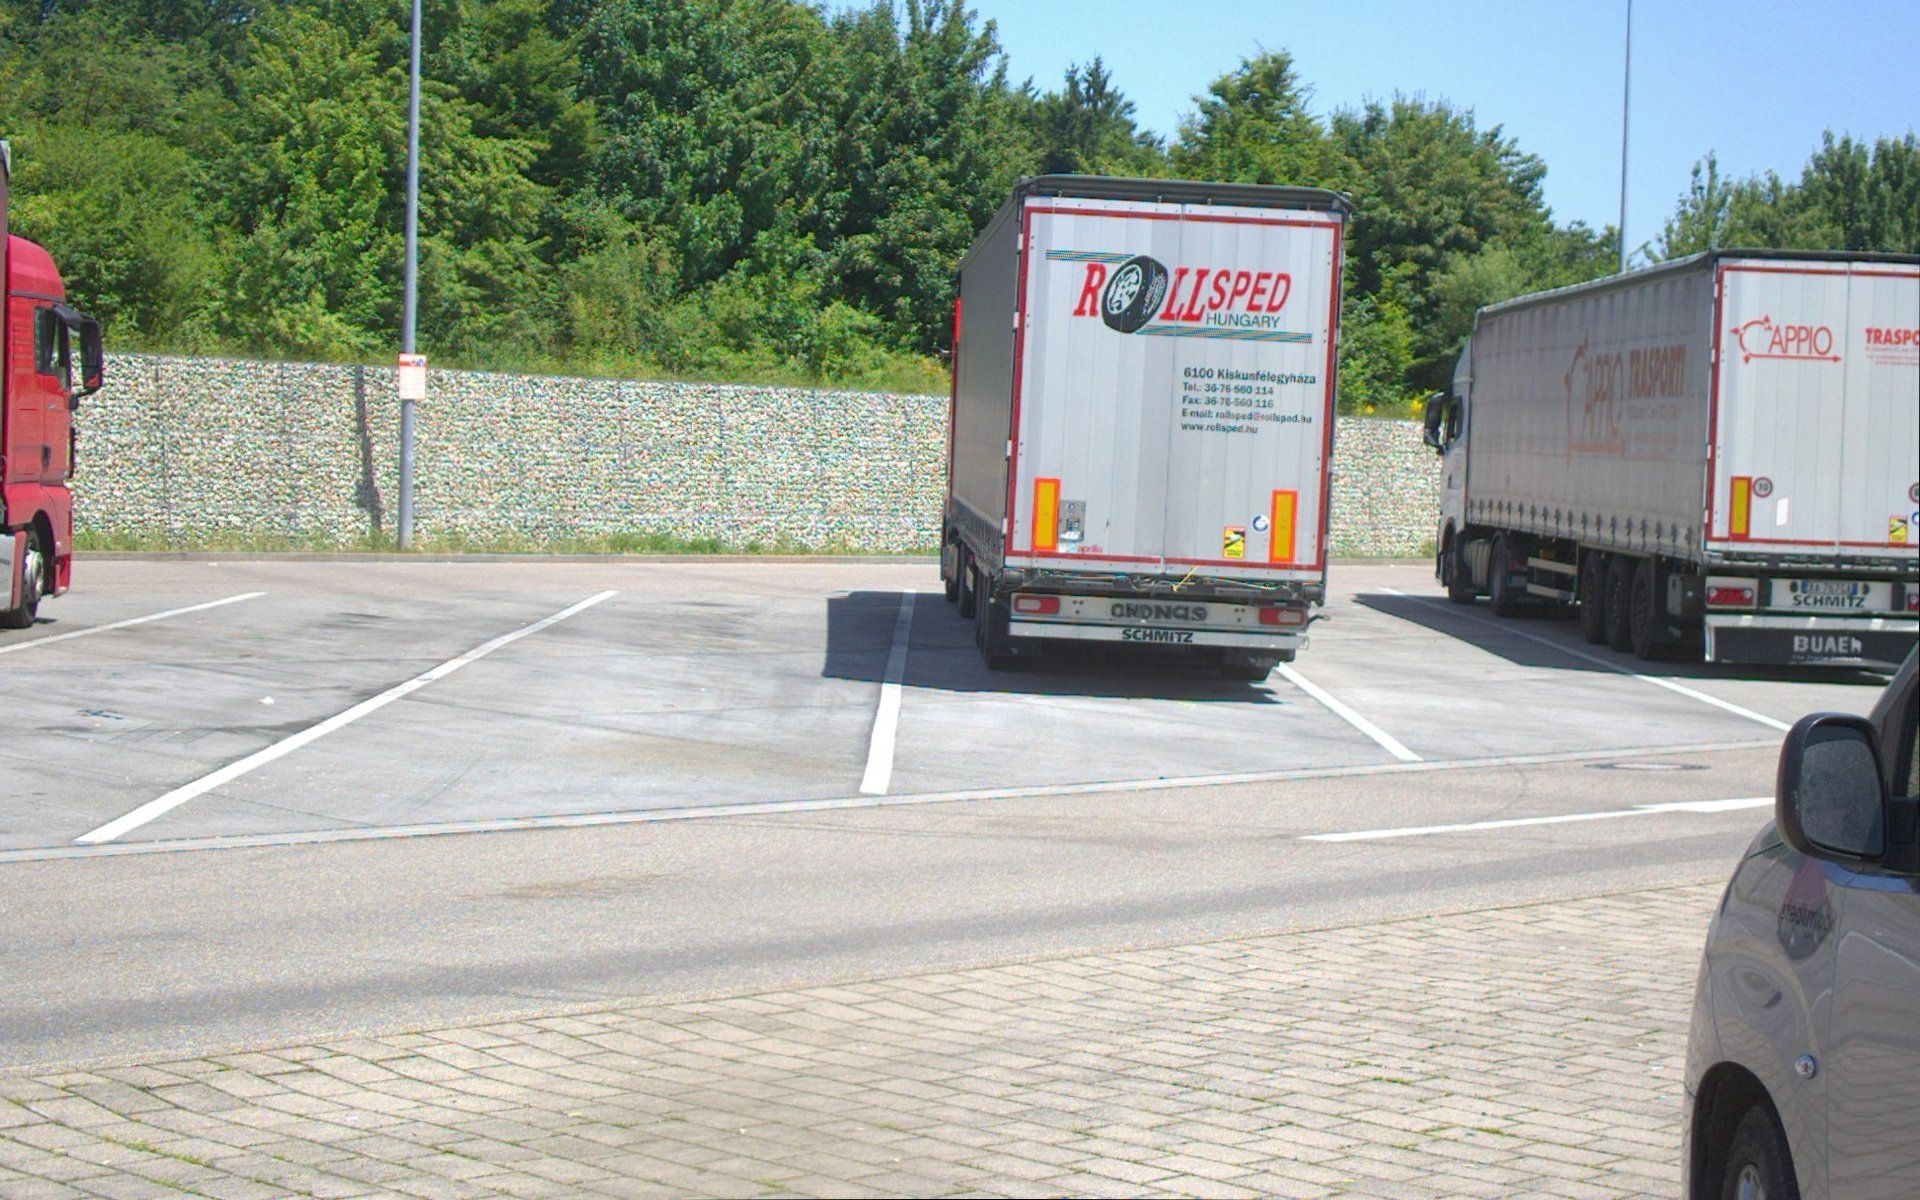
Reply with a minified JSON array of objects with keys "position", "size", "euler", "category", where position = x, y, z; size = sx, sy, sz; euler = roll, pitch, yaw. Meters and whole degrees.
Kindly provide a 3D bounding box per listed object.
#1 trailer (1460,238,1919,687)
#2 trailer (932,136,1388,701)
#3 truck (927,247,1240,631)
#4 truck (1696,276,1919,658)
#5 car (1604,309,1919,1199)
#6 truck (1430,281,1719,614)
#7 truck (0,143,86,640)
[{"position":[8.133,-1.494,38.489],"size":[2.876,4.110,13.572],"euler":[1,2,-1],"category":"trailer"},{"position":[1.472,-1.697,32.650],"size":[3.069,4.213,12.810],"euler":[2,3,-2],"category":"trailer"},{"position":[1.256,-1.854,39.418],"size":[3.026,3.915,6.847],"euler":[2,3,-2],"category":"truck"},{"position":[11.723,-1.474,39.820],"size":[2.904,4.110,14.528],"euler":[3,2,-1],"category":"truck"},{"position":[2.135,0.539,3.806],"size":[1.825,1.747,4.001],"euler":[1,2,-4],"category":"car"},{"position":[8.019,-1.989,45.483],"size":[2.757,4.110,5.285],"euler":[1,2,-1],"category":"truck"},{"position":[-9.236,-1.701,27.666],"size":[2.743,4.067,6.830],"euler":[1,2,-1],"category":"truck"}]
